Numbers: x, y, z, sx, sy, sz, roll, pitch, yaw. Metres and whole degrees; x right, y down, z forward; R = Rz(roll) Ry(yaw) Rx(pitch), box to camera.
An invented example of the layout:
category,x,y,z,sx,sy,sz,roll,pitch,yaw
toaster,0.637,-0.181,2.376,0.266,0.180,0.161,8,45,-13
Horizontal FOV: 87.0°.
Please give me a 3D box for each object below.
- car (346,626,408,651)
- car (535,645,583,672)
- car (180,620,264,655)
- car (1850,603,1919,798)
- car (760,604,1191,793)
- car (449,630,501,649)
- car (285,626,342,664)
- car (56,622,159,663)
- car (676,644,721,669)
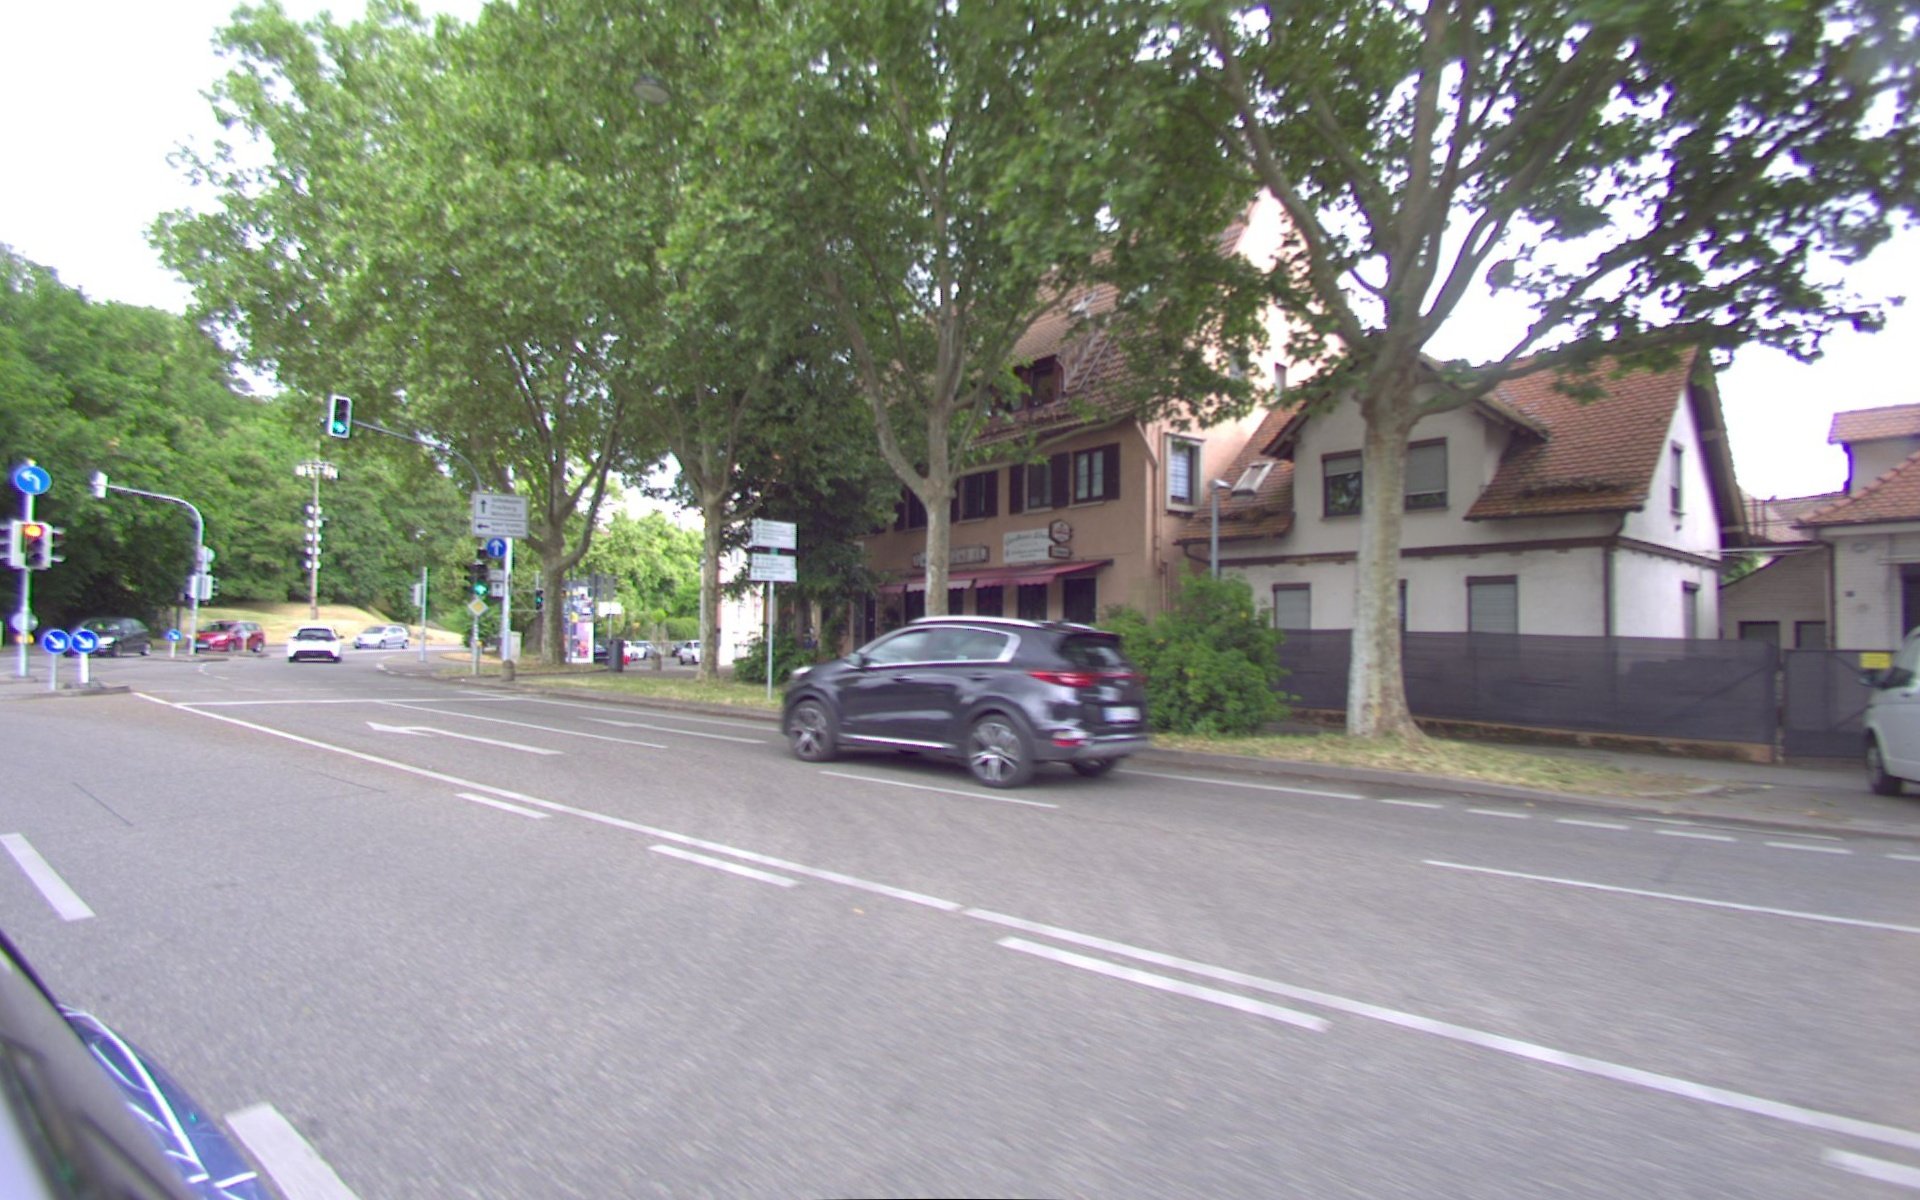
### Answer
category,x,y,z,sx,sy,sz,roll,pitch,yaw
car,-39.167,2.587,68.079,1.760,1.581,3.997,1,-2,2
car,-20.633,3.011,52.185,1.460,1.320,3.405,2,-4,-8
car,-37.123,1.900,51.031,1.649,1.654,4.108,2,-2,-9
car,10.342,0.972,9.300,2.075,1.946,5.192,-1,-5,28
car,0.027,0.955,10.725,4.411,1.599,1.778,-2,-6,40
car,-38.932,3.203,81.300,1.834,1.469,3.989,1,-2,8
car,-26.669,1.827,41.700,1.739,1.477,4.032,4,-3,-35
car,-34.066,1.678,40.582,1.702,1.532,4.012,2,-2,-17
car,-16.553,3.546,63.997,1.626,1.503,3.491,3,-3,-33
